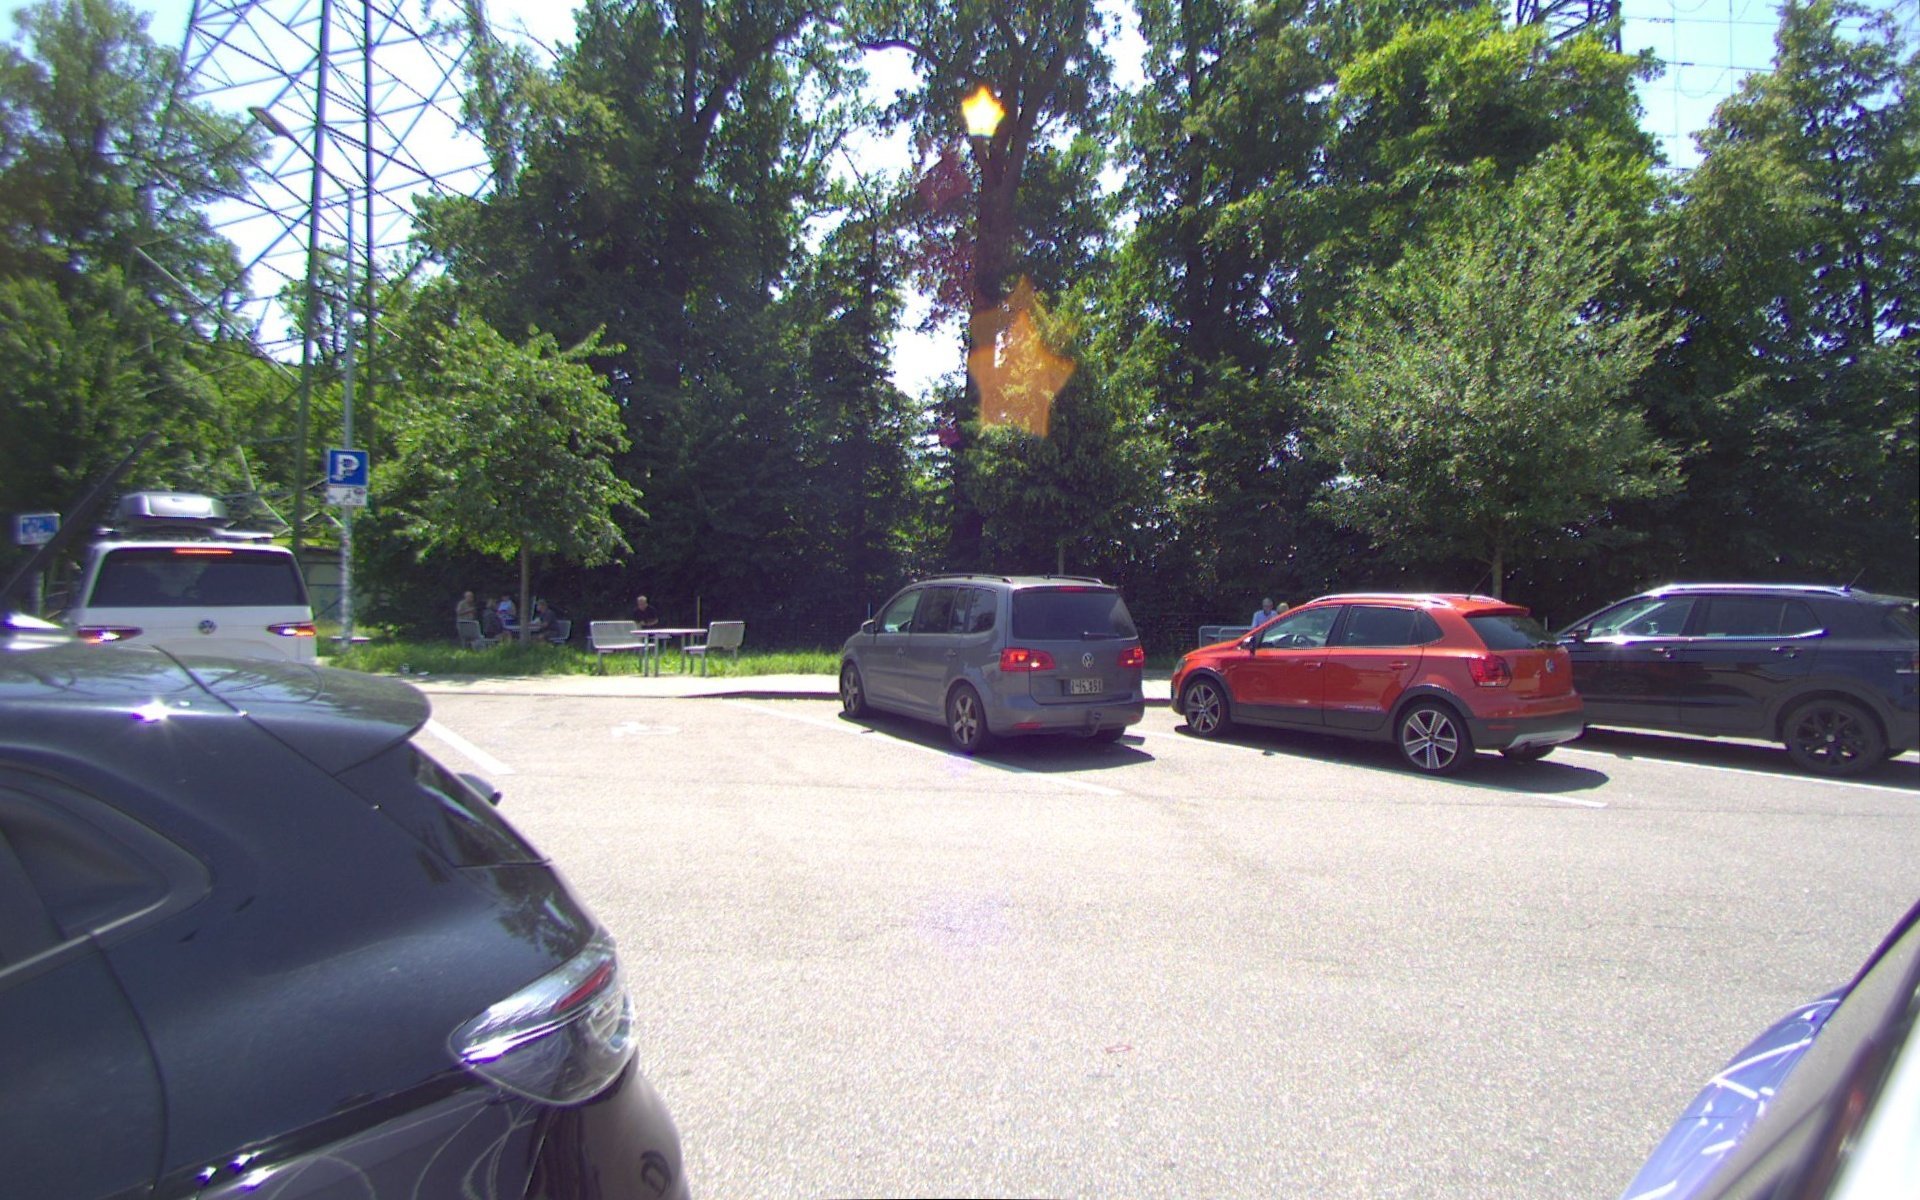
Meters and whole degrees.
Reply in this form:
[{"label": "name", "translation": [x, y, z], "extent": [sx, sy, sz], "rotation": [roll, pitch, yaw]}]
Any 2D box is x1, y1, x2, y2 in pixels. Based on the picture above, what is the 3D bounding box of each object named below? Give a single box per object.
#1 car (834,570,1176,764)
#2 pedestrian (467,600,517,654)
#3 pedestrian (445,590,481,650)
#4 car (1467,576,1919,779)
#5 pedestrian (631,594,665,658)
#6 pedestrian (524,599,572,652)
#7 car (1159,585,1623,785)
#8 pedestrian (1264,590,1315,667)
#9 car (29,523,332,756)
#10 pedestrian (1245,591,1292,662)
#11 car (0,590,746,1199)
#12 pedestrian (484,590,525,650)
[{"label": "car", "translation": [0.244, 0.520, 10.517], "extent": [1.713, 1.601, 3.996], "rotation": [0, 1, -29]}, {"label": "pedestrian", "translation": [-10.529, 0.595, 22.768], "extent": [0.873, 1.192, 0.668], "rotation": [0, 0, -41]}, {"label": "pedestrian", "translation": [-12.129, 0.471, 24.716], "extent": [0.657, 1.422, 0.649], "rotation": [0, 0, -39]}, {"label": "car", "translation": [7.170, 0.576, 9.707], "extent": [1.690, 1.593, 3.787], "rotation": [0, 1, -39]}, {"label": "pedestrian", "translation": [-6.555, 0.527, 21.279], "extent": [0.655, 1.311, 0.786], "rotation": [0, 0, -16]}, {"label": "pedestrian", "translation": [-9.613, 0.582, 23.622], "extent": [0.873, 1.192, 0.668], "rotation": [0, 0, -41]}, {"label": "car", "translation": [3.844, 0.612, 9.647], "extent": [1.687, 1.484, 3.793], "rotation": [0, 1, -32]}, {"label": "pedestrian", "translation": [5.770, 0.490, 17.769], "extent": [0.657, 1.311, 0.783], "rotation": [0, 0, 3]}, {"label": "car", "translation": [-8.366, 0.289, 10.689], "extent": [4.549, 1.936, 1.882], "rotation": [1, 1, 44]}, {"label": "pedestrian", "translation": [5.774, 0.480, 18.964], "extent": [0.657, 1.311, 0.783], "rotation": [0, 0, 3]}, {"label": "car", "translation": [-2.211, 0.721, 0.597], "extent": [1.737, 1.501, 3.757], "rotation": [0, -1, 44]}, {"label": "pedestrian", "translation": [-11.039, 0.467, 24.520], "extent": [0.664, 1.422, 0.643], "rotation": [0, 0, 32]}]
